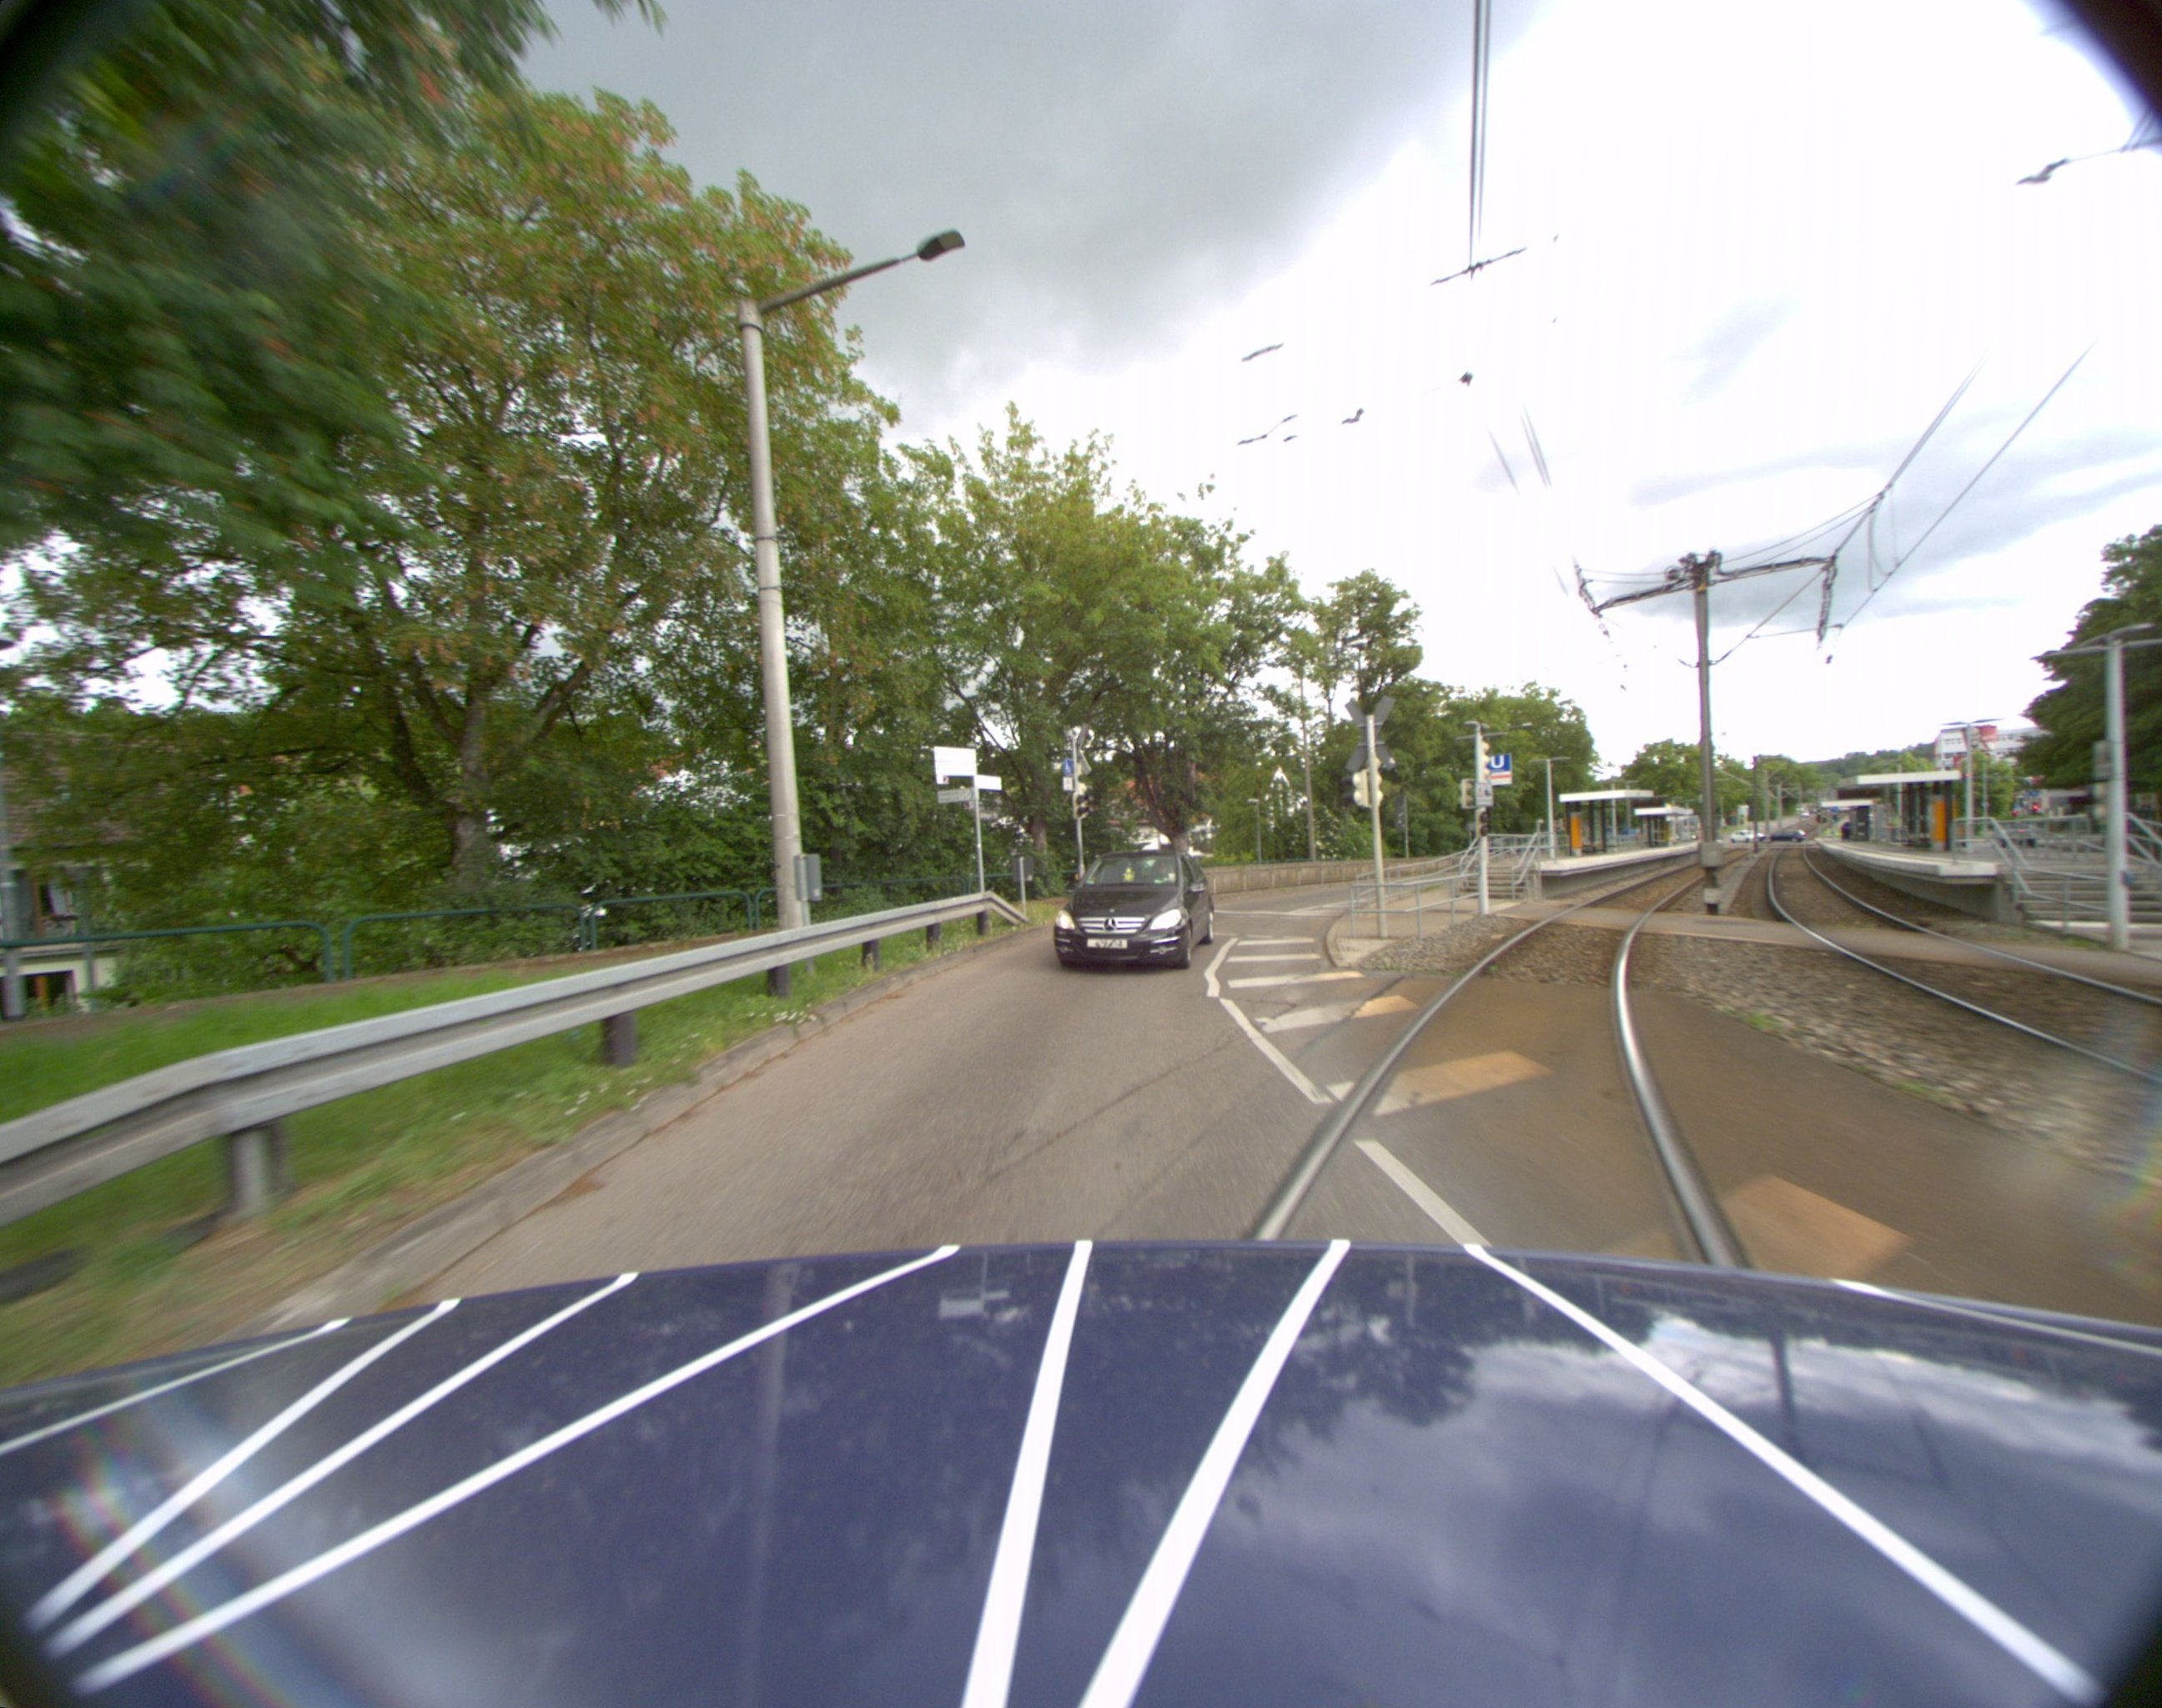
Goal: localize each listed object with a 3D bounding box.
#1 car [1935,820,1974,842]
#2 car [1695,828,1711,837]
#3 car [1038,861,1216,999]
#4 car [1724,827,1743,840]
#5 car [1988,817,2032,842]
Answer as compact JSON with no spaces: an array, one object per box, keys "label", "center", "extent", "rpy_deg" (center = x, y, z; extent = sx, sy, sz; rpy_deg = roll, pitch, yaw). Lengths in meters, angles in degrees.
[{"label":"car","center":[71.544,-1.886,62.265],"extent":[1.767,1.689,3.801],"rpy_deg":[-1,1,44]},{"label":"car","center":[89.931,-3.070,109.811],"extent":[1.712,1.277,3.581],"rpy_deg":[-1,1,41]},{"label":"car","center":[0.925,0.950,11.533],"extent":[1.709,1.573,4.447],"rpy_deg":[-1,0,16]},{"label":"car","center":[79.977,-2.524,93.072],"extent":[1.699,1.470,3.715],"rpy_deg":[-1,1,41]},{"label":"car","center":[73.064,-1.946,59.803],"extent":[1.737,1.829,3.807],"rpy_deg":[-1,1,44]}]
